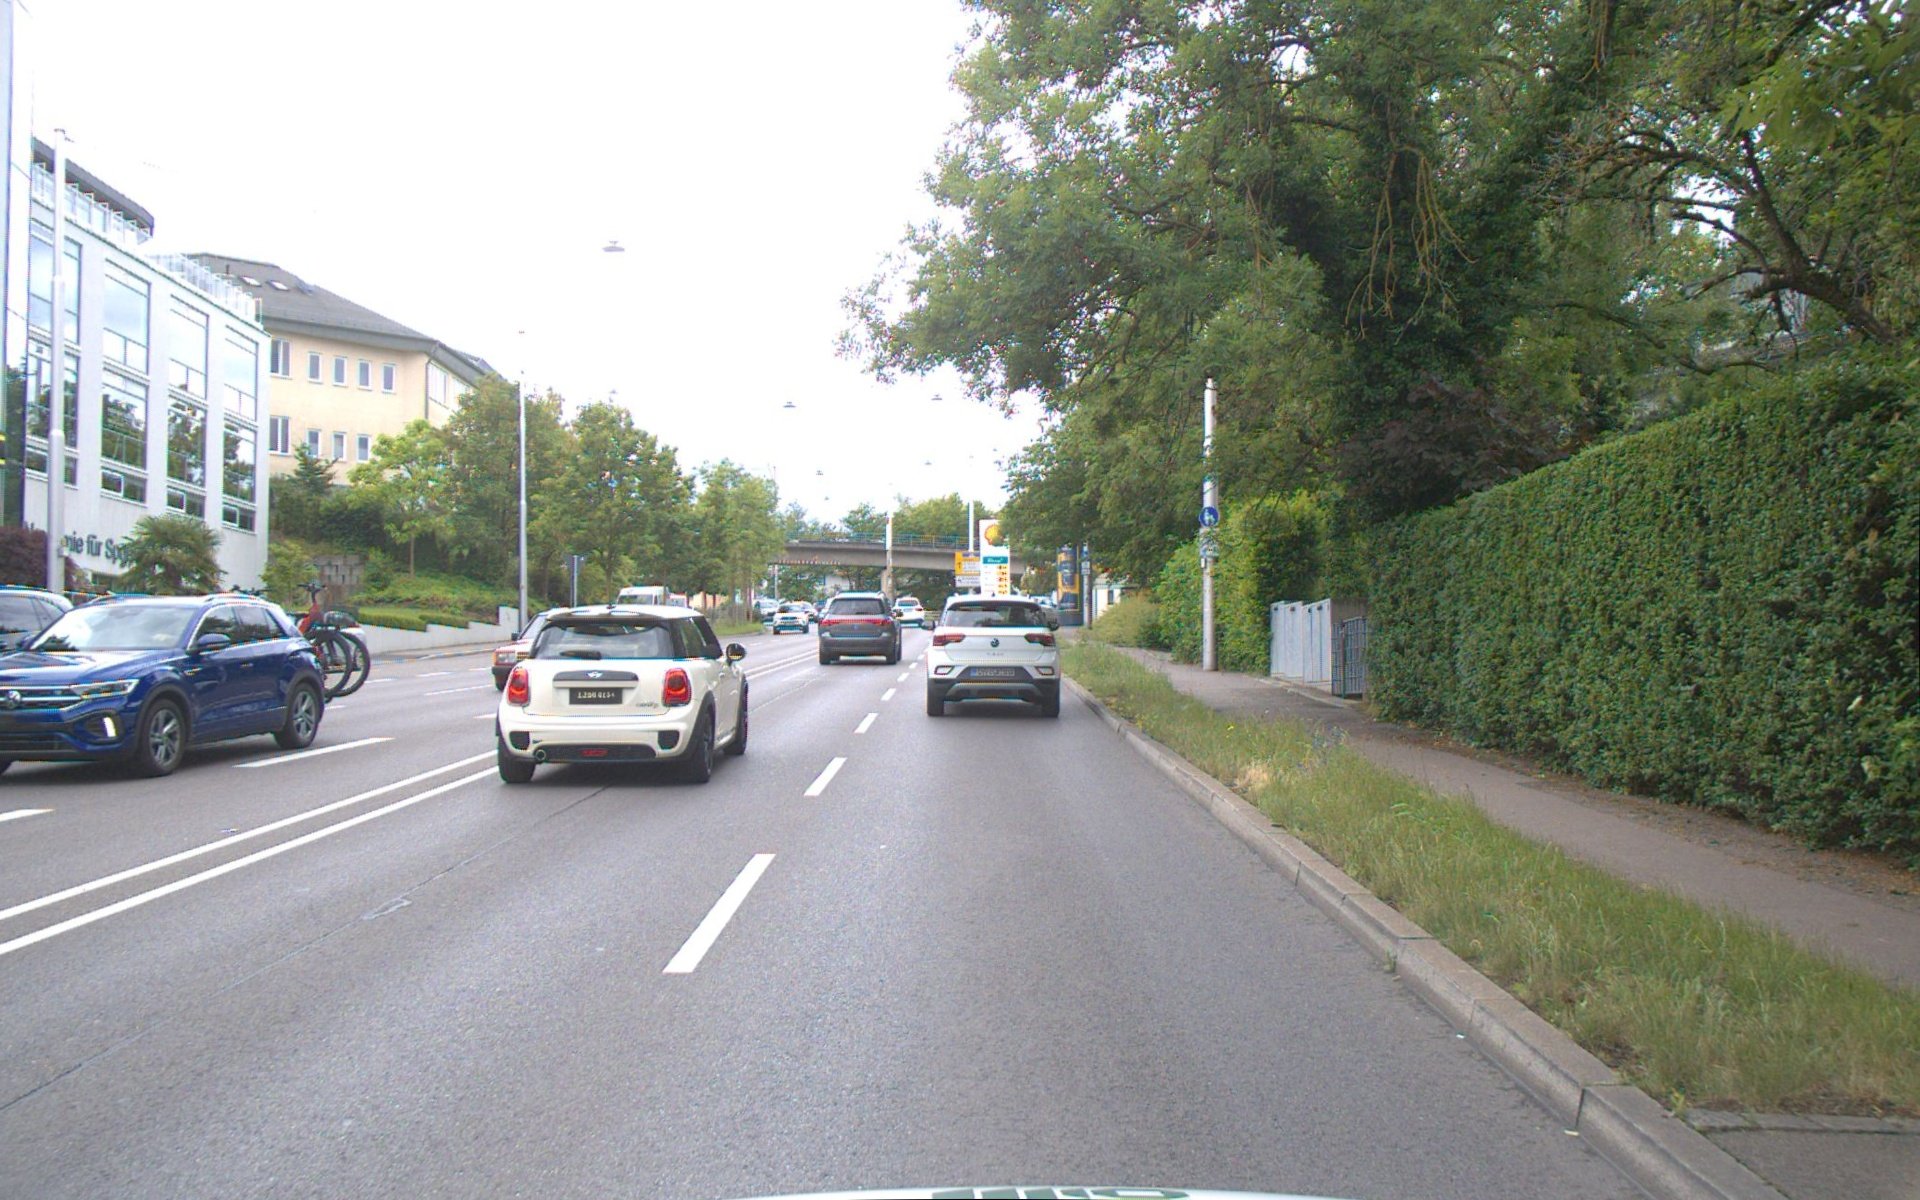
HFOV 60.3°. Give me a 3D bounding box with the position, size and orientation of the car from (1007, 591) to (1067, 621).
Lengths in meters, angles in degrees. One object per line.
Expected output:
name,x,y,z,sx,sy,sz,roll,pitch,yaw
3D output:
car,4.127,0.312,87.925,1.821,1.527,4.053,0,0,25

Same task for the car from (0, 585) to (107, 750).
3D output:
car,-10.534,0.679,16.502,1.734,1.662,4.144,0,0,3

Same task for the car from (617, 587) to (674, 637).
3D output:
car,-15.472,0.578,81.689,2.027,2.346,5.462,0,0,-3

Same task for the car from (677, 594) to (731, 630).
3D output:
car,-11.967,0.553,77.479,2.027,1.608,4.690,0,0,-3

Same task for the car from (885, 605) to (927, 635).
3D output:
car,-3.095,1.116,94.073,1.824,1.681,4.626,0,0,-9

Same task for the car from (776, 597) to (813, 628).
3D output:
car,-8.728,0.641,87.068,1.860,1.569,4.685,0,0,-7

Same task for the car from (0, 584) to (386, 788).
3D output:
car,-7.431,0.693,15.878,1.733,1.624,5.186,0,0,4

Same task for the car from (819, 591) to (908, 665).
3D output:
car,-2.276,0.638,39.923,1.775,1.681,4.637,0,0,1

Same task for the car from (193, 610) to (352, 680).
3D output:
car,-15.158,0.959,36.724,1.734,1.432,4.143,0,0,1

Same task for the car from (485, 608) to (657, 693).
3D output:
car,-6.828,0.842,29.542,1.704,1.376,4.847,0,0,3

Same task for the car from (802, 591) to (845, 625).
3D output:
car,-6.392,0.375,77.792,1.858,1.569,4.690,0,0,-3

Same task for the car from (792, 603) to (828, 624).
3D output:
car,-11.410,1.006,125.659,1.865,1.569,4.672,0,0,-16

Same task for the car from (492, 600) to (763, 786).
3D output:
car,-2.770,0.719,14.516,1.594,1.418,3.566,0,0,1

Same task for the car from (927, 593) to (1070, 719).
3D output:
car,0.455,0.698,22.594,1.775,1.566,3.689,0,0,-1

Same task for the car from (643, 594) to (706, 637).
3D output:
car,-11.749,0.630,68.360,2.027,1.685,4.690,0,0,-3

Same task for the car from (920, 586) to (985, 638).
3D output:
car,-0.292,0.417,54.623,1.836,1.527,4.551,3,-1,-3
